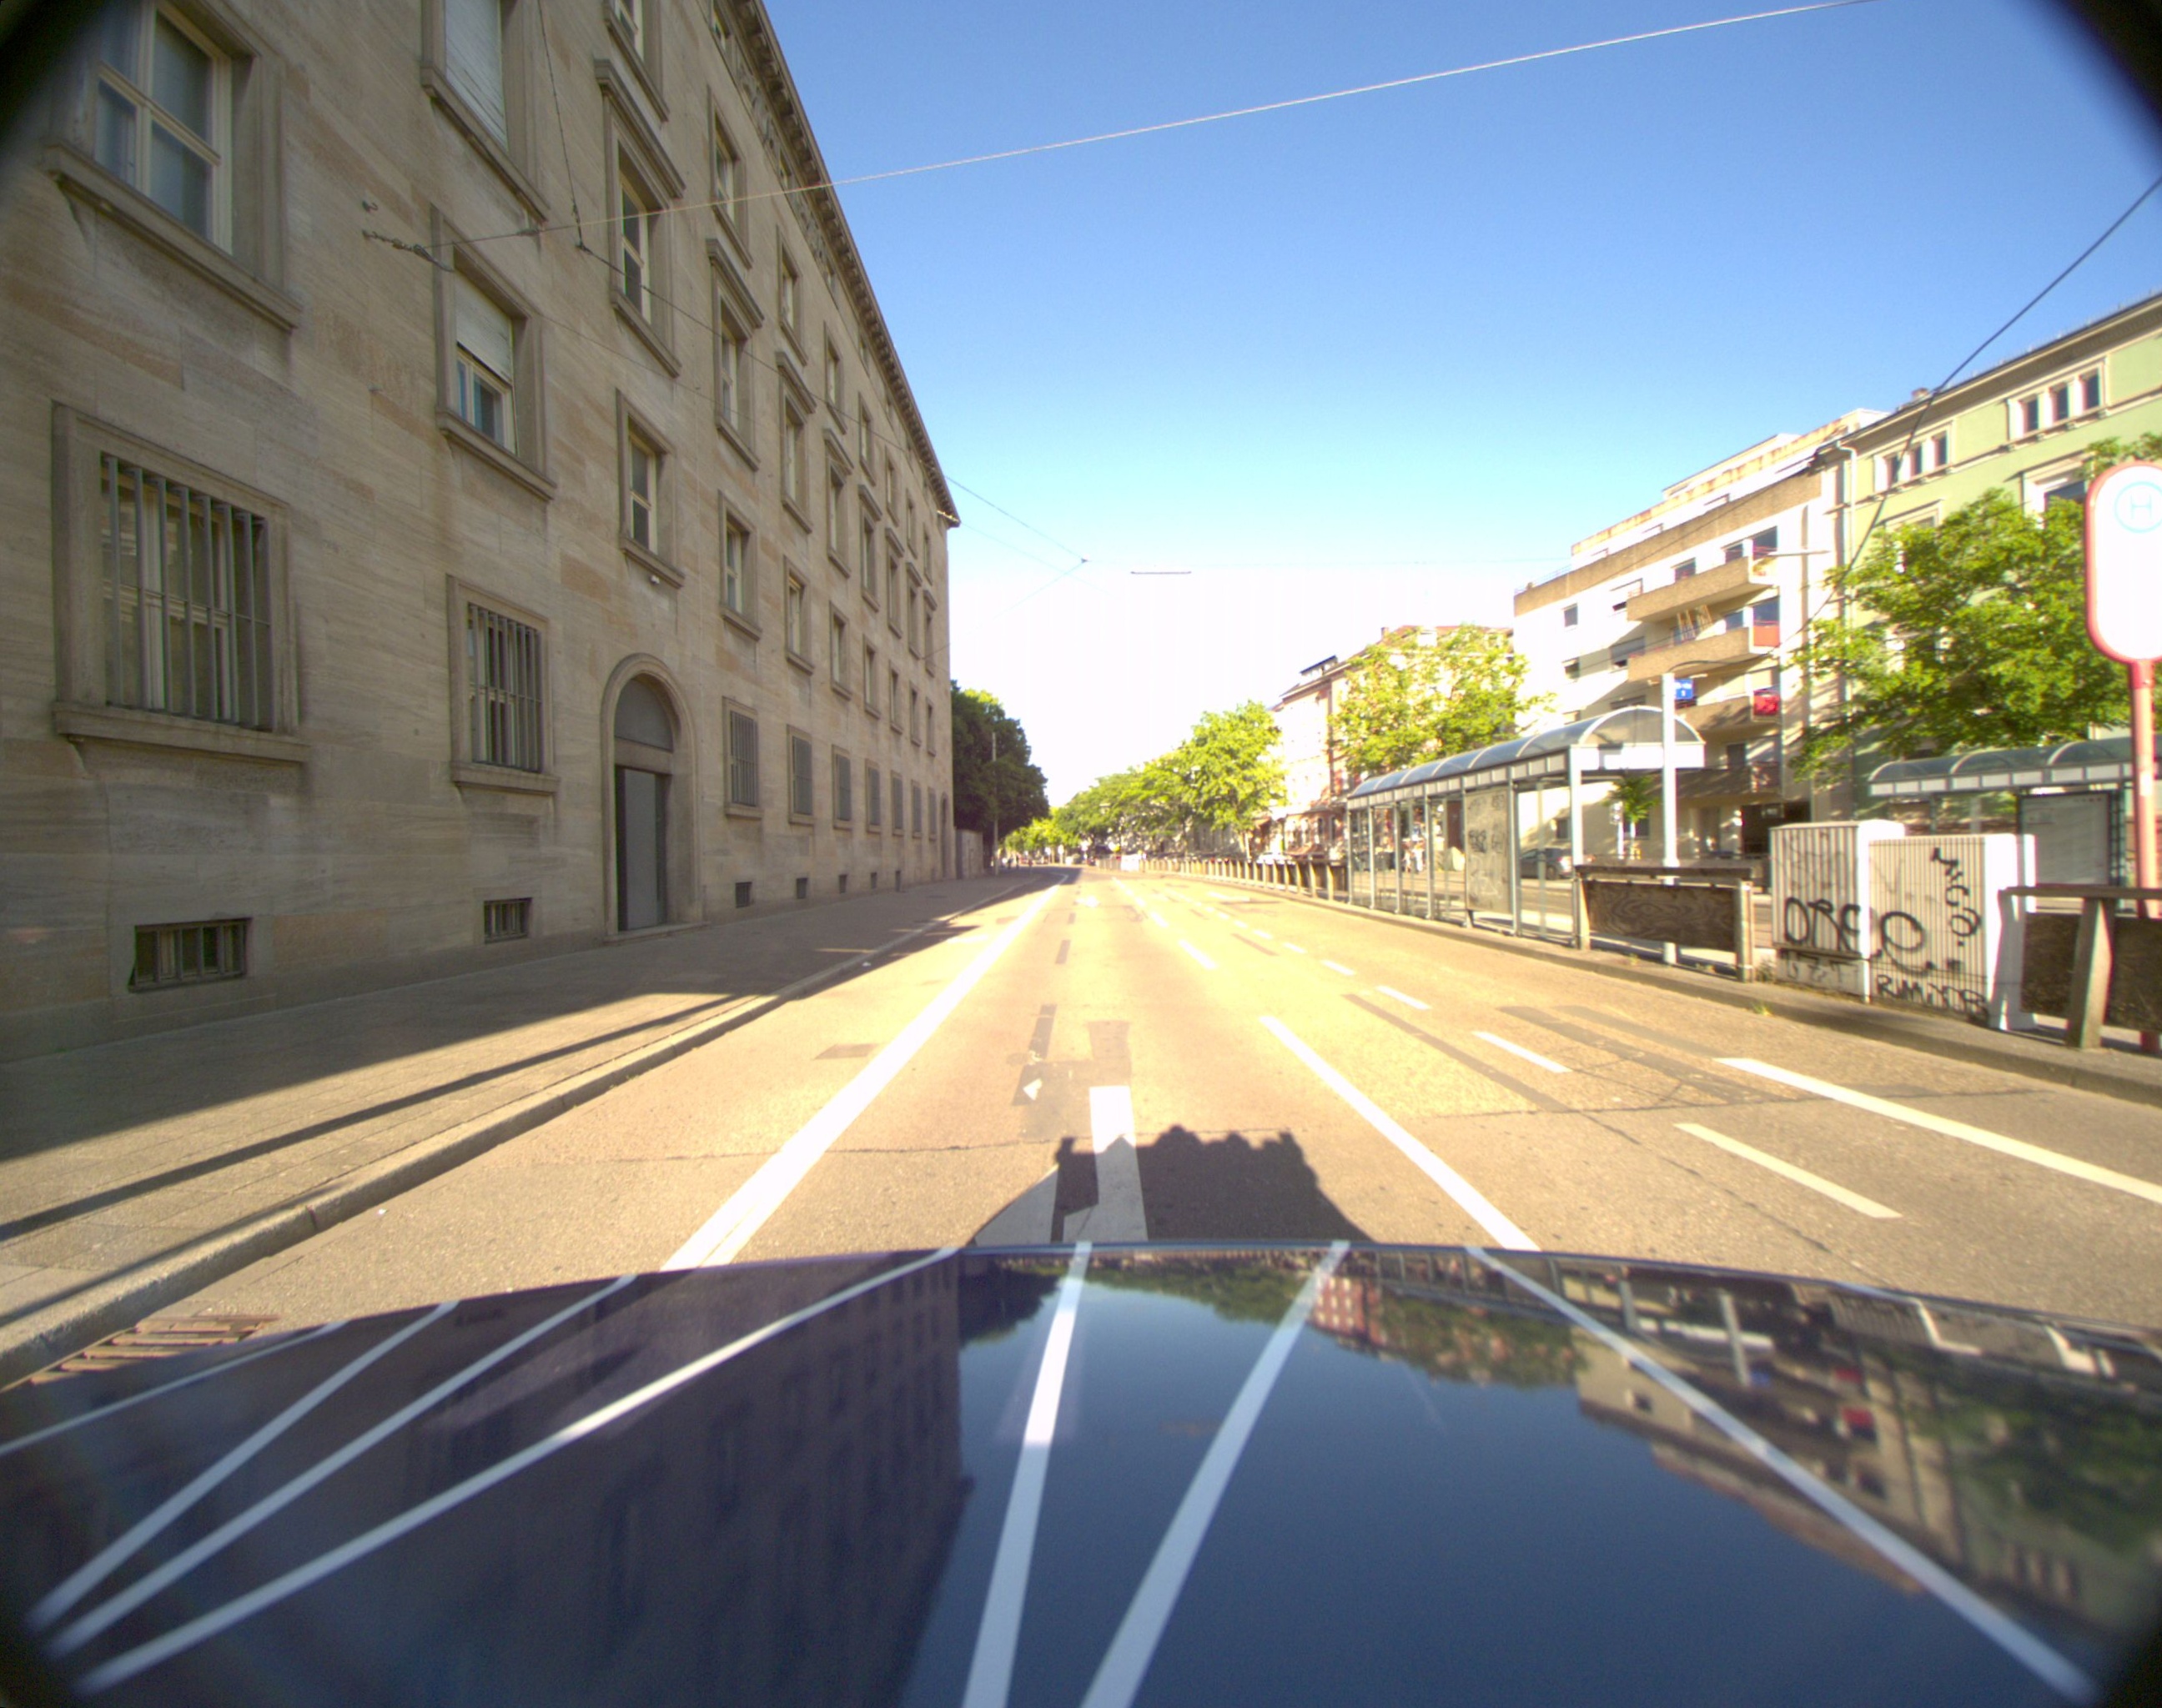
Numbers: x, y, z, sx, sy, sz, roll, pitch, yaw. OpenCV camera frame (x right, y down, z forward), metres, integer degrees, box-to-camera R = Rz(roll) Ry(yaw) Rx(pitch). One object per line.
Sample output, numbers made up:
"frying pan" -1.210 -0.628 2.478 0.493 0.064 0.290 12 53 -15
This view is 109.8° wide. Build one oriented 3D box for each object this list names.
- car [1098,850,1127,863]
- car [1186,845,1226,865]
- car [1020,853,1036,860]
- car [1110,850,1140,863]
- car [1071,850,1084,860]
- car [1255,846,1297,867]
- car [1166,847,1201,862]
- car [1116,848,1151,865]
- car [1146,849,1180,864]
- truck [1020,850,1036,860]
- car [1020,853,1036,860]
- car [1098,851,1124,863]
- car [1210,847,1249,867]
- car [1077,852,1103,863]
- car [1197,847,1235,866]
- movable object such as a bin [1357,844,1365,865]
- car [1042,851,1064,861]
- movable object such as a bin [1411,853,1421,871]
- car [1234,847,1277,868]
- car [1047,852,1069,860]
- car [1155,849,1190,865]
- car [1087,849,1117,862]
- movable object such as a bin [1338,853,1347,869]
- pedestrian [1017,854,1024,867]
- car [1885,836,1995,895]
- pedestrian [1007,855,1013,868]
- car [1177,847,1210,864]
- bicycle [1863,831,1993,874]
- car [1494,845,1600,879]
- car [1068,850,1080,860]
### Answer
"car" 4.585 0.342 111.379 4.208 1.714 1.780 -5 2 -44
"car" 12.804 0.103 77.517 4.293 1.713 1.703 -6 3 -43
"car" -13.623 0.657 196.078 3.775 1.584 1.670 -4 1 -18
"car" 6.315 0.370 109.221 4.208 1.549 1.636 -4 1 -41
"car" -0.691 0.210 141.913 1.673 1.886 3.211 -1 0 -12
"car" 16.356 0.214 63.665 1.731 1.513 3.923 -3 1 41
"car" 11.363 0.030 84.044 3.829 1.477 1.766 -4 2 -41
"car" 6.534 0.278 94.407 4.208 1.788 1.781 -5 3 -41
"car" 9.722 0.281 90.290 3.877 1.645 1.768 -4 2 -41
"truck" -13.307 0.279 190.835 3.774 2.409 1.671 -4 1 -13
"car" -13.537 0.645 193.591 3.775 1.584 1.670 -4 1 -18
"car" 4.508 0.444 114.792 1.744 1.511 3.772 -2 2 44
"car" 13.979 0.251 71.403 1.630 1.607 3.993 -2 1 43
"car" 1.457 0.575 120.263 4.007 1.478 1.777 -4 2 -44
"car" 13.216 0.260 74.193 1.630 1.607 3.993 -2 1 43
"movable object such as a bin" 18.821 0.049 51.139 0.380 1.418 0.386 -1 1 0
"car" -6.031 0.399 161.569 4.311 1.940 1.670 -4 1 -19
"movable object such as a bin" 21.496 0.512 48.780 0.380 1.090 0.552 -1 2 -6
"car" 15.361 0.305 66.731 3.929 1.499 1.685 -5 1 -43
"car" -4.812 0.427 158.360 4.105 1.561 1.670 -4 1 -18
"car" 10.542 0.320 87.052 3.877 1.645 1.768 -4 2 -41
"car" 3.239 0.184 117.159 4.366 1.704 1.944 -4 2 -35
"movable object such as a bin" 17.946 0.452 52.125 0.380 1.062 0.639 -1 1 0
"pedestrian" -7.883 0.874 98.500 0.872 1.710 0.804 -1 1 -3
"car" 24.850 0.284 22.126 4.524 1.417 1.868 -4 2 -45
"pedestrian" -9.236 0.955 98.620 0.831 1.710 0.804 -1 -1 -6
"car" 12.018 0.113 81.295 3.286 1.524 1.703 -6 2 -43
"bicycle" 29.026 -0.057 26.150 0.719 1.390 3.007 -1 0 -14
"car" 20.880 0.335 34.285 1.711 1.402 4.289 -1 0 -8
"car" -1.356 0.208 146.147 1.673 1.886 3.211 -1 0 -12
